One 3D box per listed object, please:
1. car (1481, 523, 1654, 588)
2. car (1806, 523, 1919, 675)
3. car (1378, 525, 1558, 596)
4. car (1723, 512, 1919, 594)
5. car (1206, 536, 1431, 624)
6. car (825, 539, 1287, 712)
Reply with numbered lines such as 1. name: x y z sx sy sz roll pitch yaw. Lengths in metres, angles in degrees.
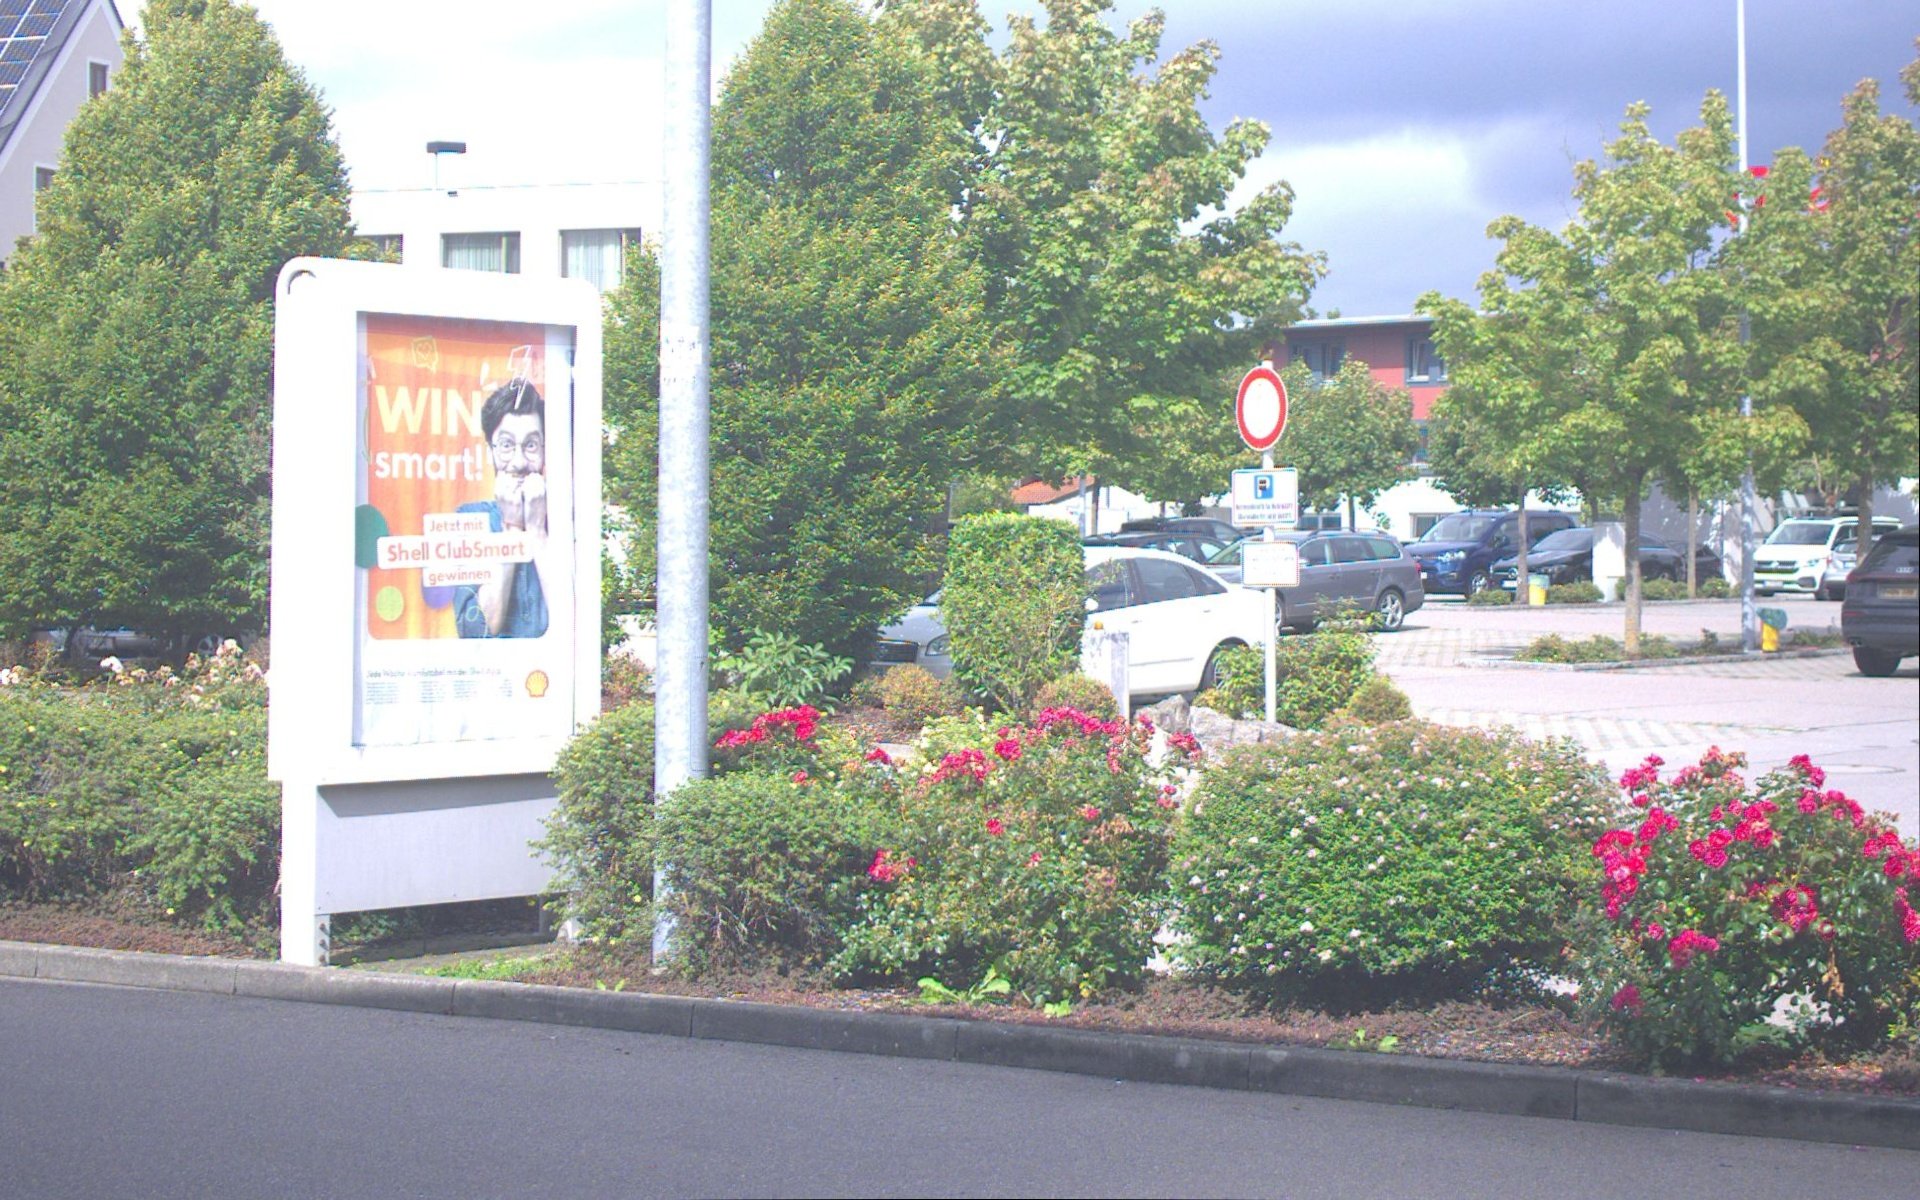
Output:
1. car: 11.513 -0.840 65.037 3.409 1.174 1.485 0 1 -44
2. car: 11.130 -0.008 36.731 4.491 1.543 1.885 0 1 -43
3. car: 9.885 -0.758 66.785 3.379 1.316 1.747 0 1 -44
4. car: 20.246 -1.088 80.643 4.864 1.827 2.184 0 1 -43
5. car: 5.200 -0.289 49.718 3.218 1.224 1.505 0 1 -44
6. car: 0.901 0.205 29.928 4.332 1.399 1.370 0 1 -44
